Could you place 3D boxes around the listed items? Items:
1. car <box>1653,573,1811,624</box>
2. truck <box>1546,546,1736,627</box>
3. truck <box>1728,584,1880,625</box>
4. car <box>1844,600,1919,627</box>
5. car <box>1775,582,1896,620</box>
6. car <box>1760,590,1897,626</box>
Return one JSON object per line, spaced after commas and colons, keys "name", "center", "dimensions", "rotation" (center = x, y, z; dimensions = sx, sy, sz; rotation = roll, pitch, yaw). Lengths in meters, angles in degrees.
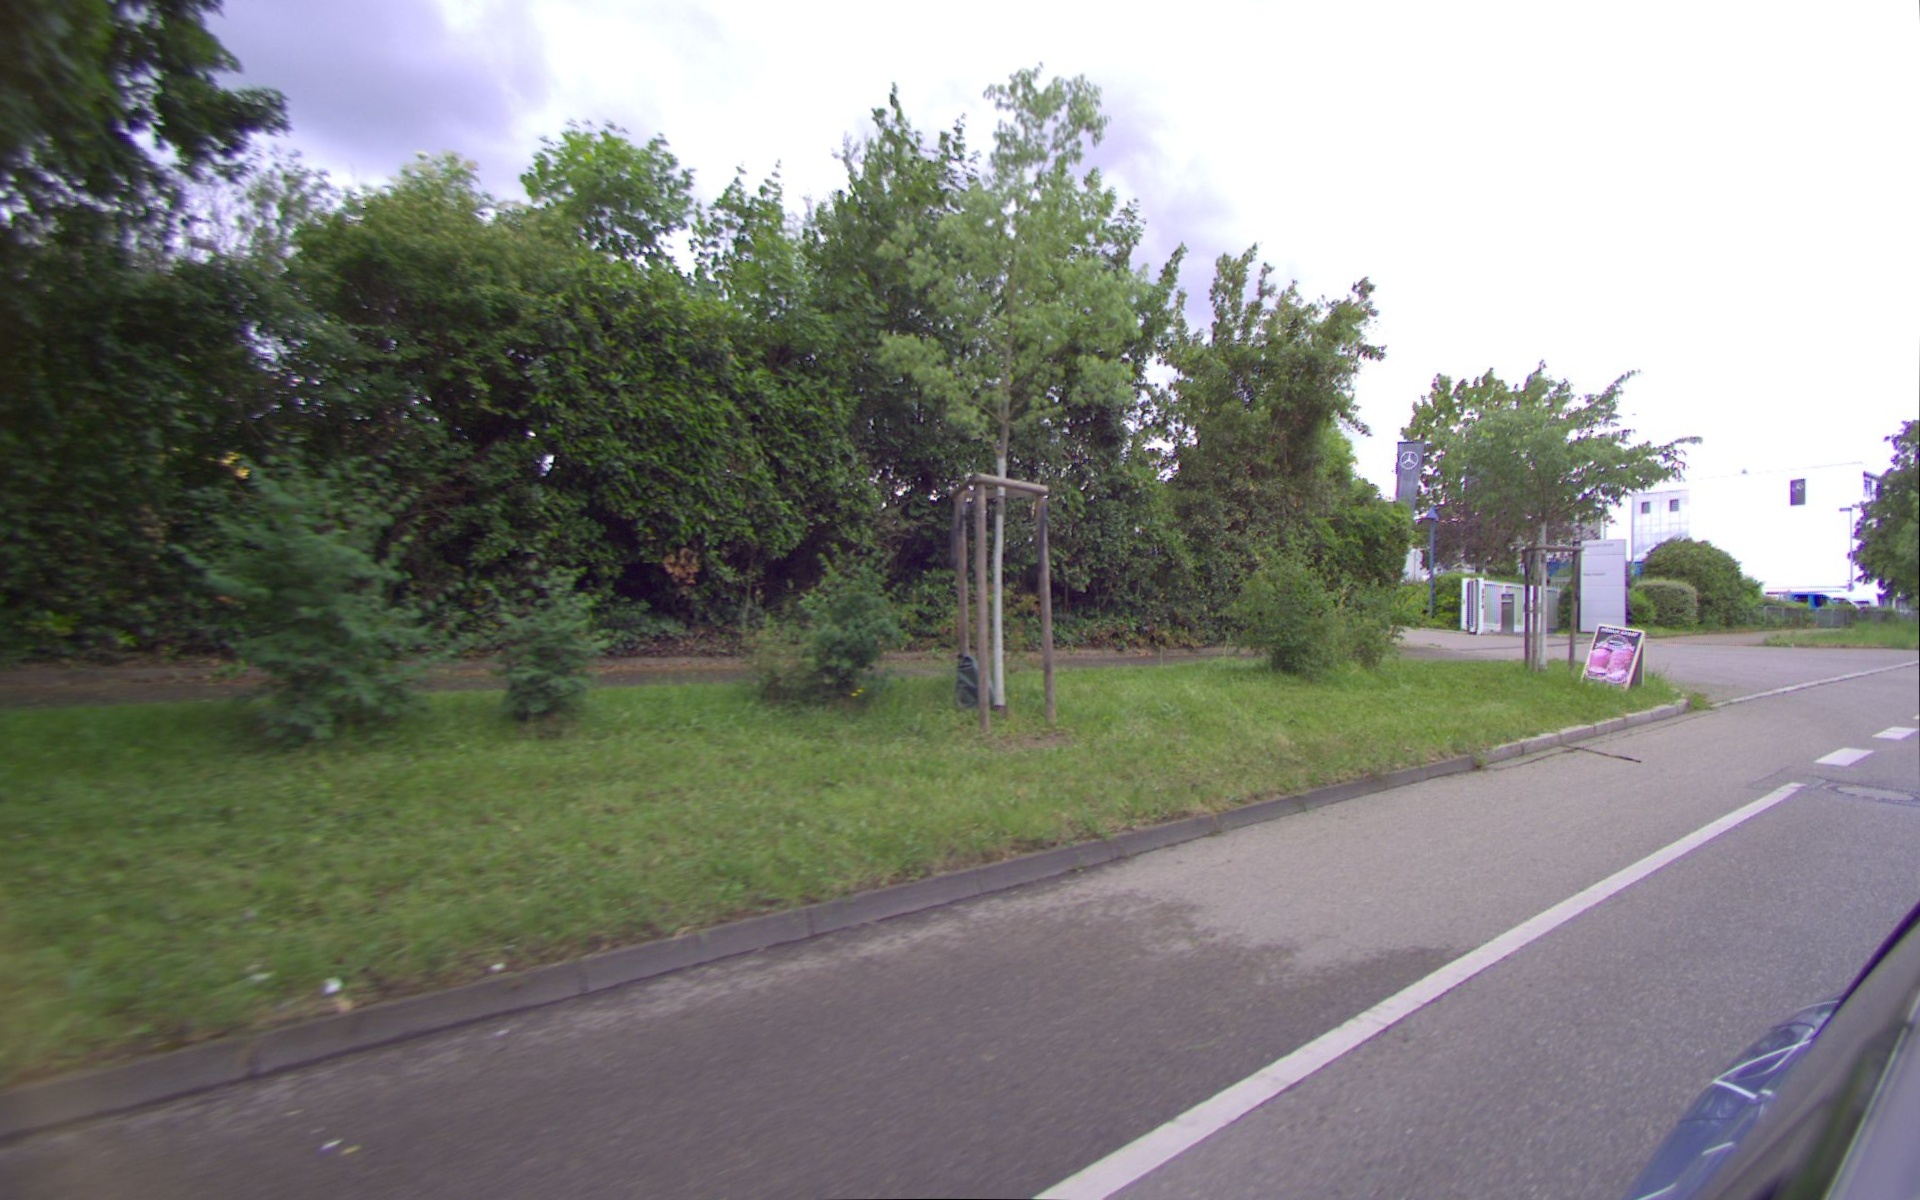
{"name": "car", "center": [38.274, -0.052, 50.438], "dimensions": [5.984, 2.397, 2.335], "rotation": [-1, -1, 33]}
{"name": "truck", "center": [31.314, -0.618, 46.939], "dimensions": [7.131, 3.521, 2.589], "rotation": [1, 0, 32]}
{"name": "truck", "center": [47.310, 0.273, 56.961], "dimensions": [6.195, 2.241, 2.225], "rotation": [-1, -1, 28]}
{"name": "car", "center": [72.077, 1.030, 78.723], "dimensions": [4.512, 2.060, 2.061], "rotation": [0, -1, 16]}
{"name": "car", "center": [53.144, 0.105, 61.595], "dimensions": [5.219, 2.216, 2.049], "rotation": [-1, -1, 31]}
{"name": "car", "center": [50.370, 0.481, 58.888], "dimensions": [5.787, 1.982, 2.046], "rotation": [-1, -1, 34]}
